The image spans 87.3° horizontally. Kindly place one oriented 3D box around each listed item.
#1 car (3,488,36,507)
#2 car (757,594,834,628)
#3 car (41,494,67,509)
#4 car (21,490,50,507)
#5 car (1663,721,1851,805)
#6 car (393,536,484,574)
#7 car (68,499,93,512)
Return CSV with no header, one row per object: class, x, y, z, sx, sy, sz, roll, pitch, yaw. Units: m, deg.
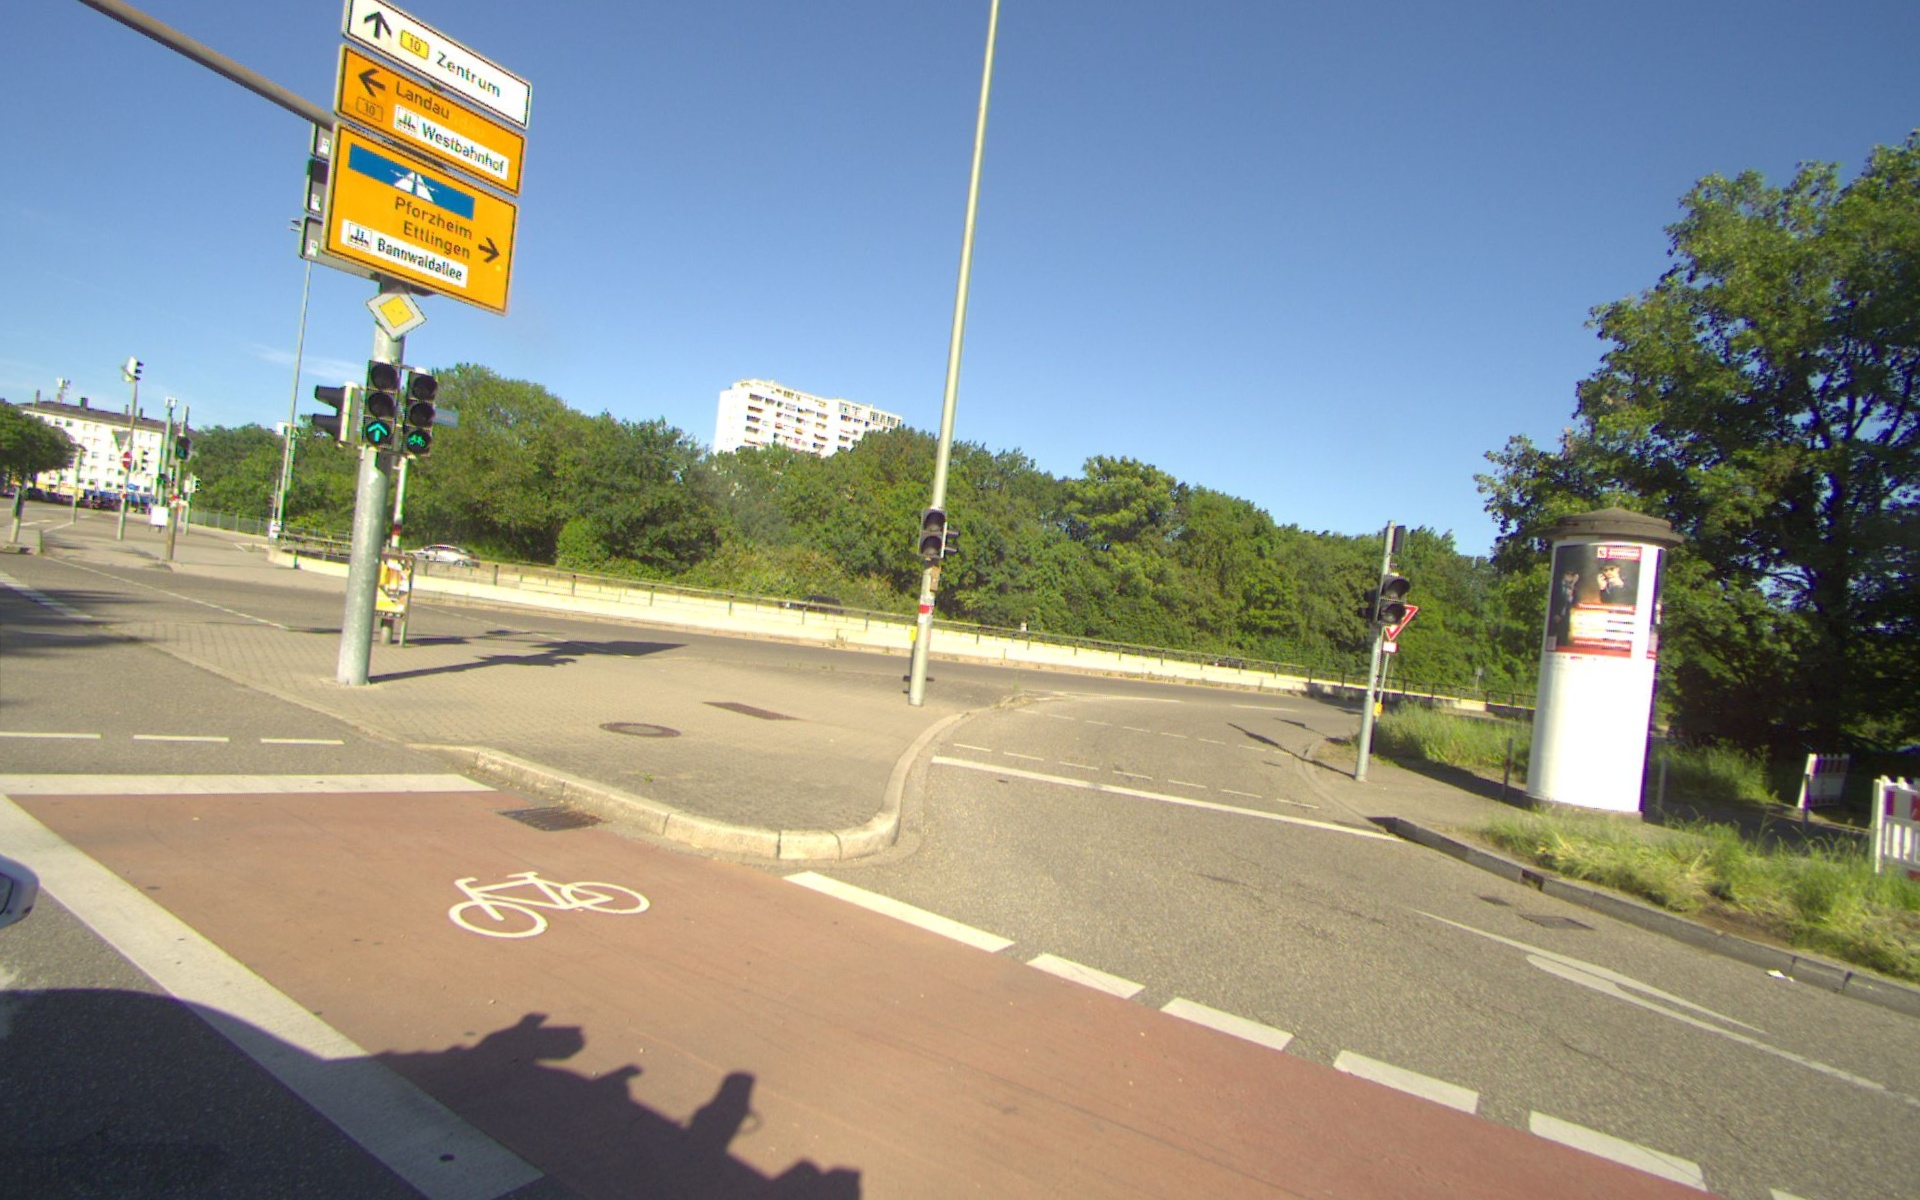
car,-95.864,-10.425,102.607,1.936,1.547,4.055,7,-1,-37
car,-10.984,0.741,67.144,4.622,1.636,1.849,8,0,-27
car,-115.770,-12.611,128.617,1.935,1.547,4.056,7,-1,-36
car,-105.138,-11.510,114.441,1.935,1.547,4.056,7,-1,-37
car,22.947,4.655,29.165,3.713,1.581,1.999,7,0,24
car,-29.869,-2.570,57.774,4.179,1.571,1.855,8,0,-15
car,-137.561,-14.730,157.443,1.929,1.547,4.068,7,-1,-28
